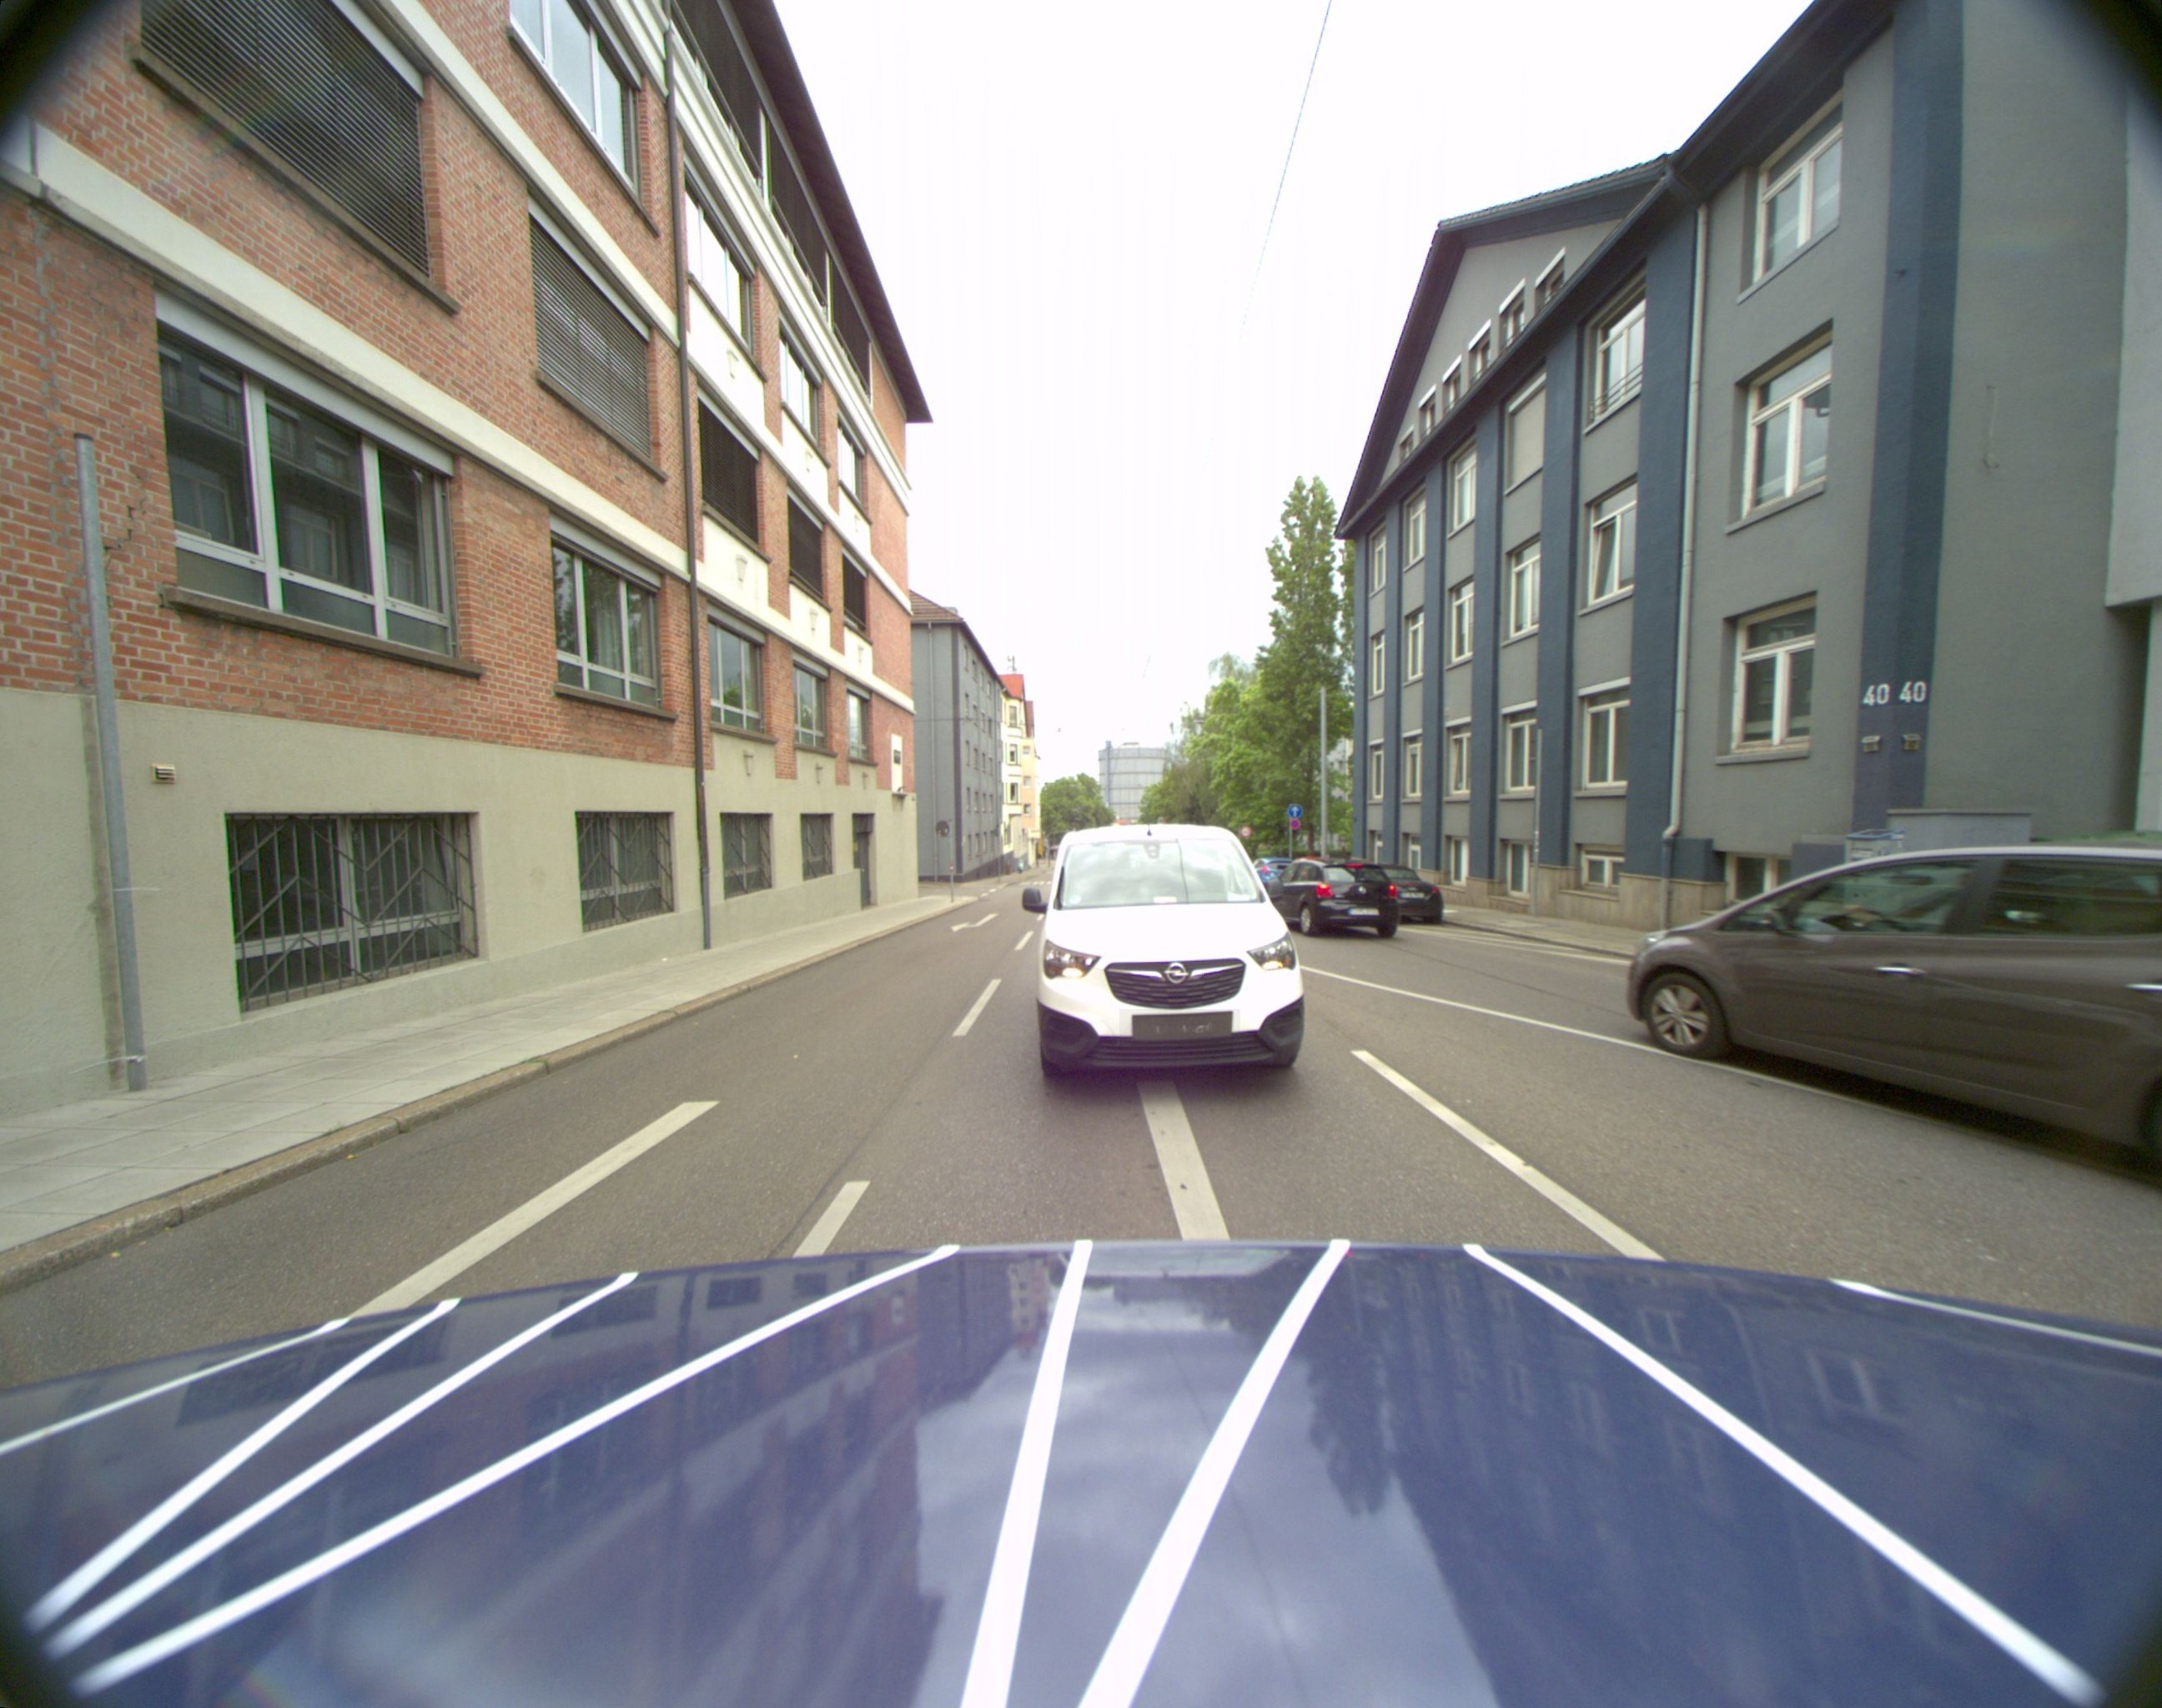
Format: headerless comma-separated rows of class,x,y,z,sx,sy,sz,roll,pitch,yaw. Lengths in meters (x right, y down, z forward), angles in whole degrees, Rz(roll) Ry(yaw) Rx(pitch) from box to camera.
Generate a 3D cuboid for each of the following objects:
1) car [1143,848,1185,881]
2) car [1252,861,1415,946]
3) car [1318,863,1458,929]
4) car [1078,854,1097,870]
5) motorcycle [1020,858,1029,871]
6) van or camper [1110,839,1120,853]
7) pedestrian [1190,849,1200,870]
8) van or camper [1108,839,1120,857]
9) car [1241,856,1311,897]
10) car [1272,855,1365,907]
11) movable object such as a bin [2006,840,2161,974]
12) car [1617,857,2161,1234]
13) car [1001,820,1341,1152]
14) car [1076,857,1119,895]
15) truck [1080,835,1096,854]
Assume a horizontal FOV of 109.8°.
car,4.501,0.532,41.694,1.788,1.697,4.306,2,1,0
car,4.793,0.877,15.013,1.678,1.392,3.792,2,0,-5
car,7.274,0.940,18.463,1.724,1.319,4.041,2,0,0
car,0.637,0.761,72.964,1.724,1.486,3.727,1,0,2
motorcycle,-5.117,0.904,68.425,0.566,1.105,1.653,4,0,2
van or camper,6.709,-1.531,149.641,1.914,2.754,5.925,1,0,2
pedestrian,9.958,0.453,66.167,0.746,1.839,0.776,-1,1,2
van or camper,5.170,-1.005,119.792,1.914,2.754,5.925,1,0,2
car,7.536,0.832,29.668,1.724,1.445,3.727,1,0,0
car,7.482,0.806,24.319,1.819,1.465,3.869,2,0,2
movable object such as a bin,12.066,0.601,8.973,1.267,1.448,0.784,-3,2,4
car,5.384,0.849,4.236,1.709,1.578,3.934,1,0,-6
car,0.551,0.736,6.735,1.840,1.797,4.939,-2,0,1
car,0.730,0.900,32.822,1.724,1.486,3.727,1,0,2
truck,1.368,-1.704,145.918,2.980,3.394,9.358,-2,0,1
